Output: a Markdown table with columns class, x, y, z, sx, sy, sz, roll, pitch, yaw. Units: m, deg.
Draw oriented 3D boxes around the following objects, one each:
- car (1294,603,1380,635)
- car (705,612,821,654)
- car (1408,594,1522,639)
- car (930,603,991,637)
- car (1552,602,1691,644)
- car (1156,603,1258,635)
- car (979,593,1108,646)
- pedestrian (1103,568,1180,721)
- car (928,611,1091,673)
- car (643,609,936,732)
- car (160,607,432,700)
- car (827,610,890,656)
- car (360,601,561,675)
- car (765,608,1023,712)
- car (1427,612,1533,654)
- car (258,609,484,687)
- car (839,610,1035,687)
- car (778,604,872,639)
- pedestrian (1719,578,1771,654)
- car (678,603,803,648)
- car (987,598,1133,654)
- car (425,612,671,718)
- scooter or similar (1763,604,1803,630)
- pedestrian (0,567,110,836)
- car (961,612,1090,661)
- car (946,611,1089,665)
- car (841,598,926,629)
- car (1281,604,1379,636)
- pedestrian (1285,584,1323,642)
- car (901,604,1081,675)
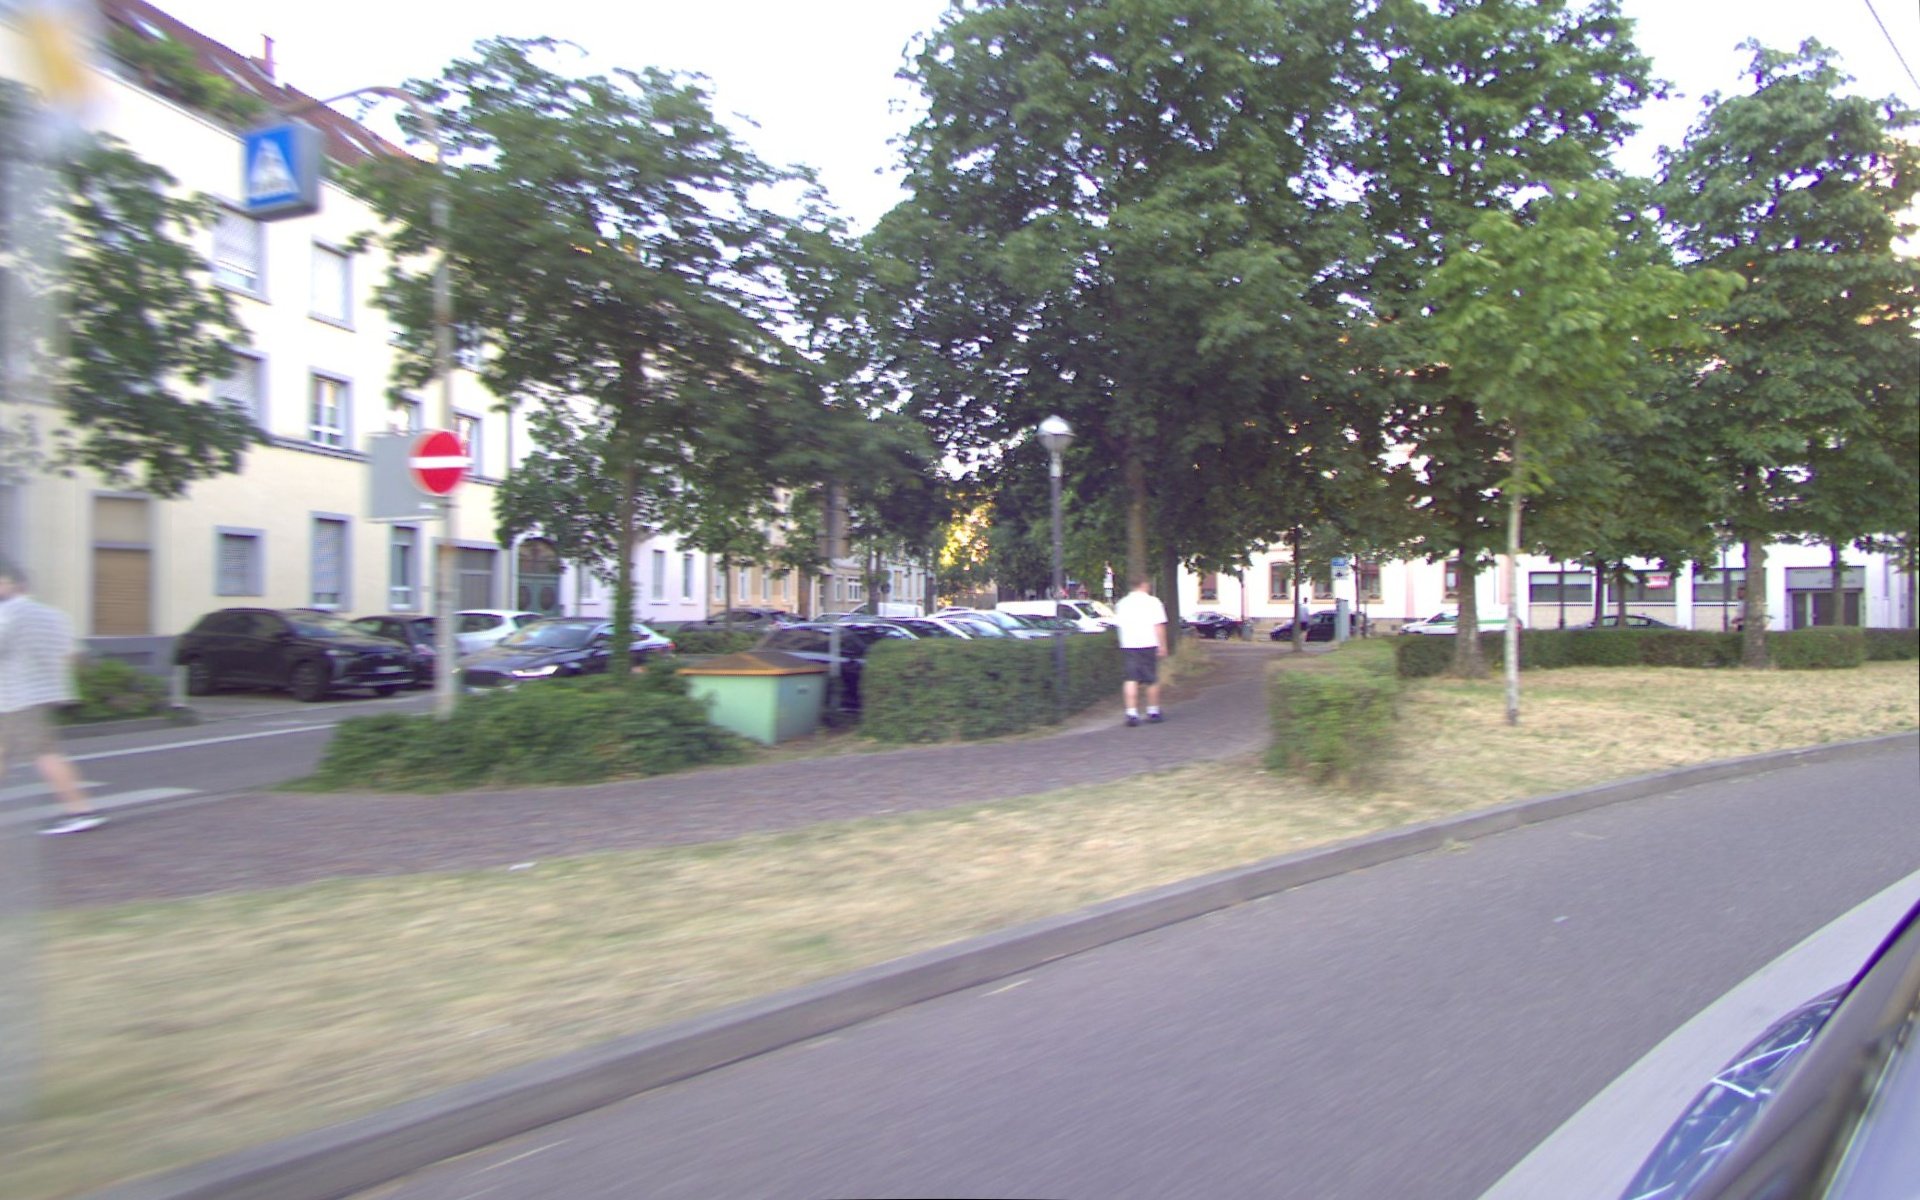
| class | x | y | z | sx | sy | sz | roll | pitch | yaw |
| --- | --- | --- | --- | --- | --- | --- | --- | --- | --- |
| car | 18.319 | 0.913 | 49.203 | 3.652 | 1.468 | 1.680 | 0 | -2 | 35 |
| car | -7.665 | 1.270 | 39.492 | 4.006 | 1.571 | 1.992 | 0 | -1 | 13 |
| car | 20.509 | 0.660 | 41.166 | 3.985 | 1.747 | 1.681 | 0 | -2 | 34 |
| car | 0.038 | 1.412 | 72.557 | 4.006 | 2.324 | 1.992 | 0 | -1 | 13 |
| car | 24.735 | 0.821 | 37.979 | 4.292 | 1.428 | 1.785 | 0 | 1 | 34 |
| car | 11.595 | 0.864 | 47.524 | 4.364 | 1.437 | 1.707 | 0 | -2 | 34 |
| car | 3.405 | 0.785 | 41.613 | 5.052 | 2.048 | 1.941 | 0 | -2 | 37 |
| pedestrian | 2.131 | 0.516 | 11.988 | 0.755 | 1.738 | 0.785 | 1 | -2 | 0 |
| car | 1.362 | 1.108 | 27.798 | 4.031 | 1.571 | 1.980 | 0 | -1 | 29 |
| car | -2.549 | 0.951 | 15.042 | 4.031 | 1.577 | 1.847 | 0 | -1 | 29 |
| car | -12.355 | 0.945 | 18.903 | 4.335 | 1.578 | 1.829 | 0 | -1 | 15 |
| car | -3.481 | 1.132 | 35.290 | 1.786 | 1.501 | 4.134 | 1 | -1 | 0 |
| car | -11.597 | 0.858 | 23.577 | 4.011 | 1.590 | 1.828 | 0 | -1 | 16 |
| car | -1.143 | 0.944 | 17.234 | 4.031 | 1.577 | 1.847 | 0 | -1 | 29 |
| car | 22.990 | 1.434 | 44.804 | 3.987 | 1.747 | 1.679 | 0 | -2 | 35 |
| car | -12.427 | 0.980 | 21.432 | 4.009 | 1.504 | 1.829 | 0 | -1 | 15 |
| car | -0.542 | 1.044 | 23.020 | 4.031 | 1.571 | 1.980 | 0 | -1 | 29 |
| car | -6.369 | 0.994 | 47.767 | 4.031 | 1.571 | 1.980 | 0 | -1 | 29 |
| pedestrian | 17.337 | 0.345 | 22.355 | 0.637 | 1.646 | 0.615 | 1 | -2 | -8 |
| car | -8.010 | 0.923 | 37.095 | 4.006 | 1.571 | 1.992 | 0 | -1 | 13 |
| car | 3.651 | 0.925 | 37.467 | 5.052 | 1.927 | 2.093 | 0 | -2 | 37 |
| car | -6.532 | 0.969 | 16.611 | 1.792 | 1.501 | 4.122 | 0 | -1 | 10 |
| scooter or similar | 33.830 | 0.685 | 41.618 | 0.479 | 1.046 | 1.182 | 2 | -2 | -35 |
| pedestrian | -6.657 | 0.688 | 7.130 | 0.586 | 1.815 | 0.814 | 0 | -2 | 24 |
| car | 2.253 | 1.225 | 34.912 | 4.031 | 1.571 | 1.980 | 0 | -1 | 29 |
| car | 1.786 | 1.156 | 31.571 | 4.031 | 1.571 | 1.980 | 0 | -1 | 29 |
| car | -4.143 | 0.751 | 55.222 | 4.331 | 1.633 | 1.722 | 0 | -1 | 13 |
| car | 16.178 | 0.861 | 44.267 | 3.756 | 1.353 | 1.707 | 0 | -2 | 34 |
| pedestrian | 12.235 | 0.470 | 36.030 | 0.988 | 2.040 | 0.831 | 1 | -2 | -26 |
| car | 0.769 | 0.933 | 25.144 | 4.031 | 1.639 | 1.980 | 0 | -1 | 29 |
